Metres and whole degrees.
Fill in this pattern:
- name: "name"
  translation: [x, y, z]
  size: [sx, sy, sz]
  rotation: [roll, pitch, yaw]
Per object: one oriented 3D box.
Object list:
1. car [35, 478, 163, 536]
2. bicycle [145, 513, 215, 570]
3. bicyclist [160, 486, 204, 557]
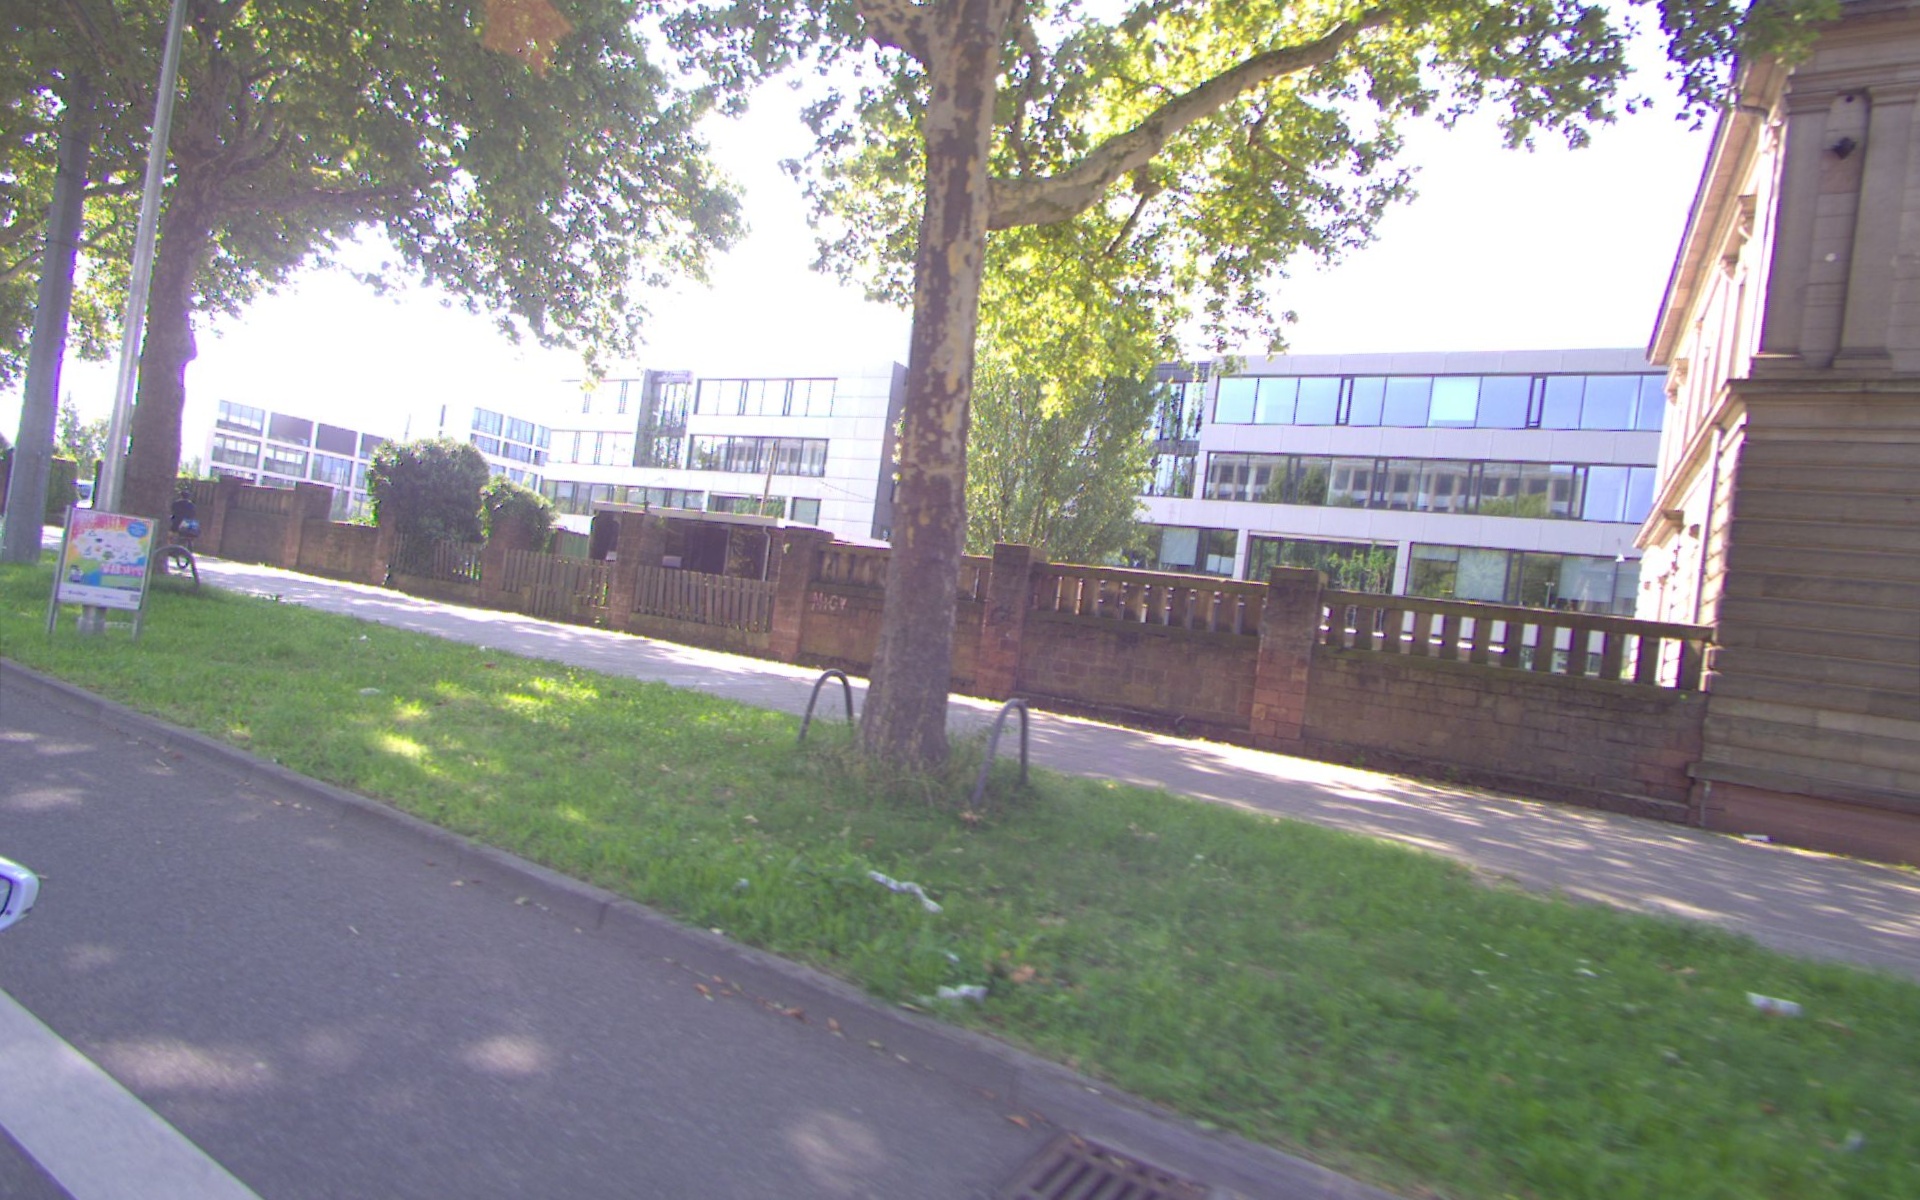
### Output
- name: "car"
  translation: [-39.023, -4.188, 45.696]
  size: [1.534, 1.865, 4.011]
  rotation: [8, -1, 28]
- name: "bicycle"
  translation: [-18.244, -1.371, 23.530]
  size: [1.825, 1.102, 0.492]
  rotation: [8, 0, 28]
- name: "bicyclist"
  translation: [-18.199, -1.839, 23.527]
  size: [0.586, 1.558, 0.470]
  rotation: [8, 0, 28]
